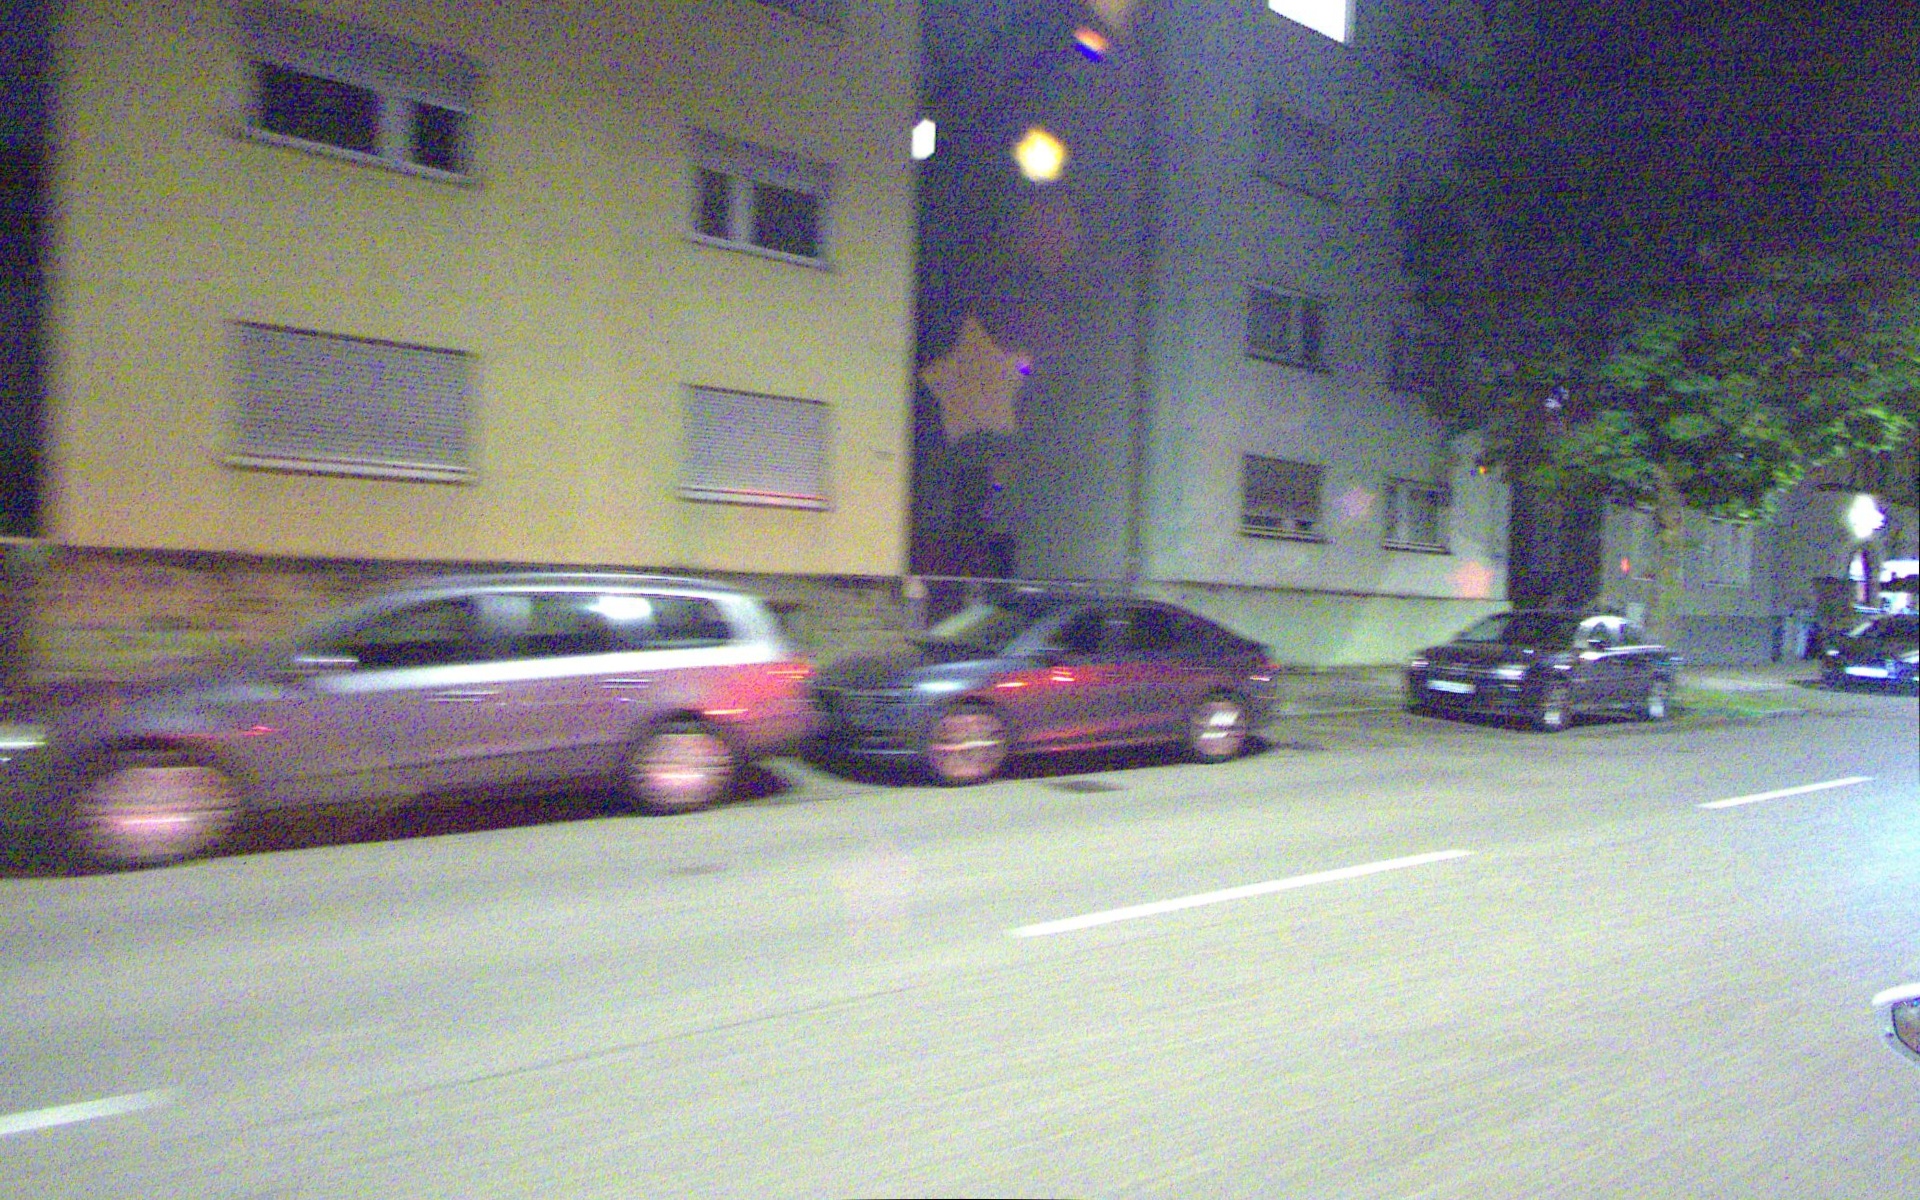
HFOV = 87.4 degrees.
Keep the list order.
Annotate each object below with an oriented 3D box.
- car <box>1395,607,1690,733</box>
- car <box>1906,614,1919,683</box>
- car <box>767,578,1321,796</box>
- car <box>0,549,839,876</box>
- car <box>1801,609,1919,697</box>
[{"bbox_3d":[7.821,0.852,13.340,4.405,1.401,1.612,2,0,-34],"label":"car"},{"bbox_3d":[23.212,1.133,22.567,4.274,1.501,1.794,2,0,-32],"label":"car"},{"bbox_3d":[0.890,0.645,8.936,4.809,1.505,1.758,2,0,-32],"label":"car"},{"bbox_3d":[-3.289,0.550,6.391,4.716,1.505,1.758,2,0,-33],"label":"car"},{"bbox_3d":[18.951,1.023,20.078,4.400,1.491,1.890,2,2,-31],"label":"car"}]
